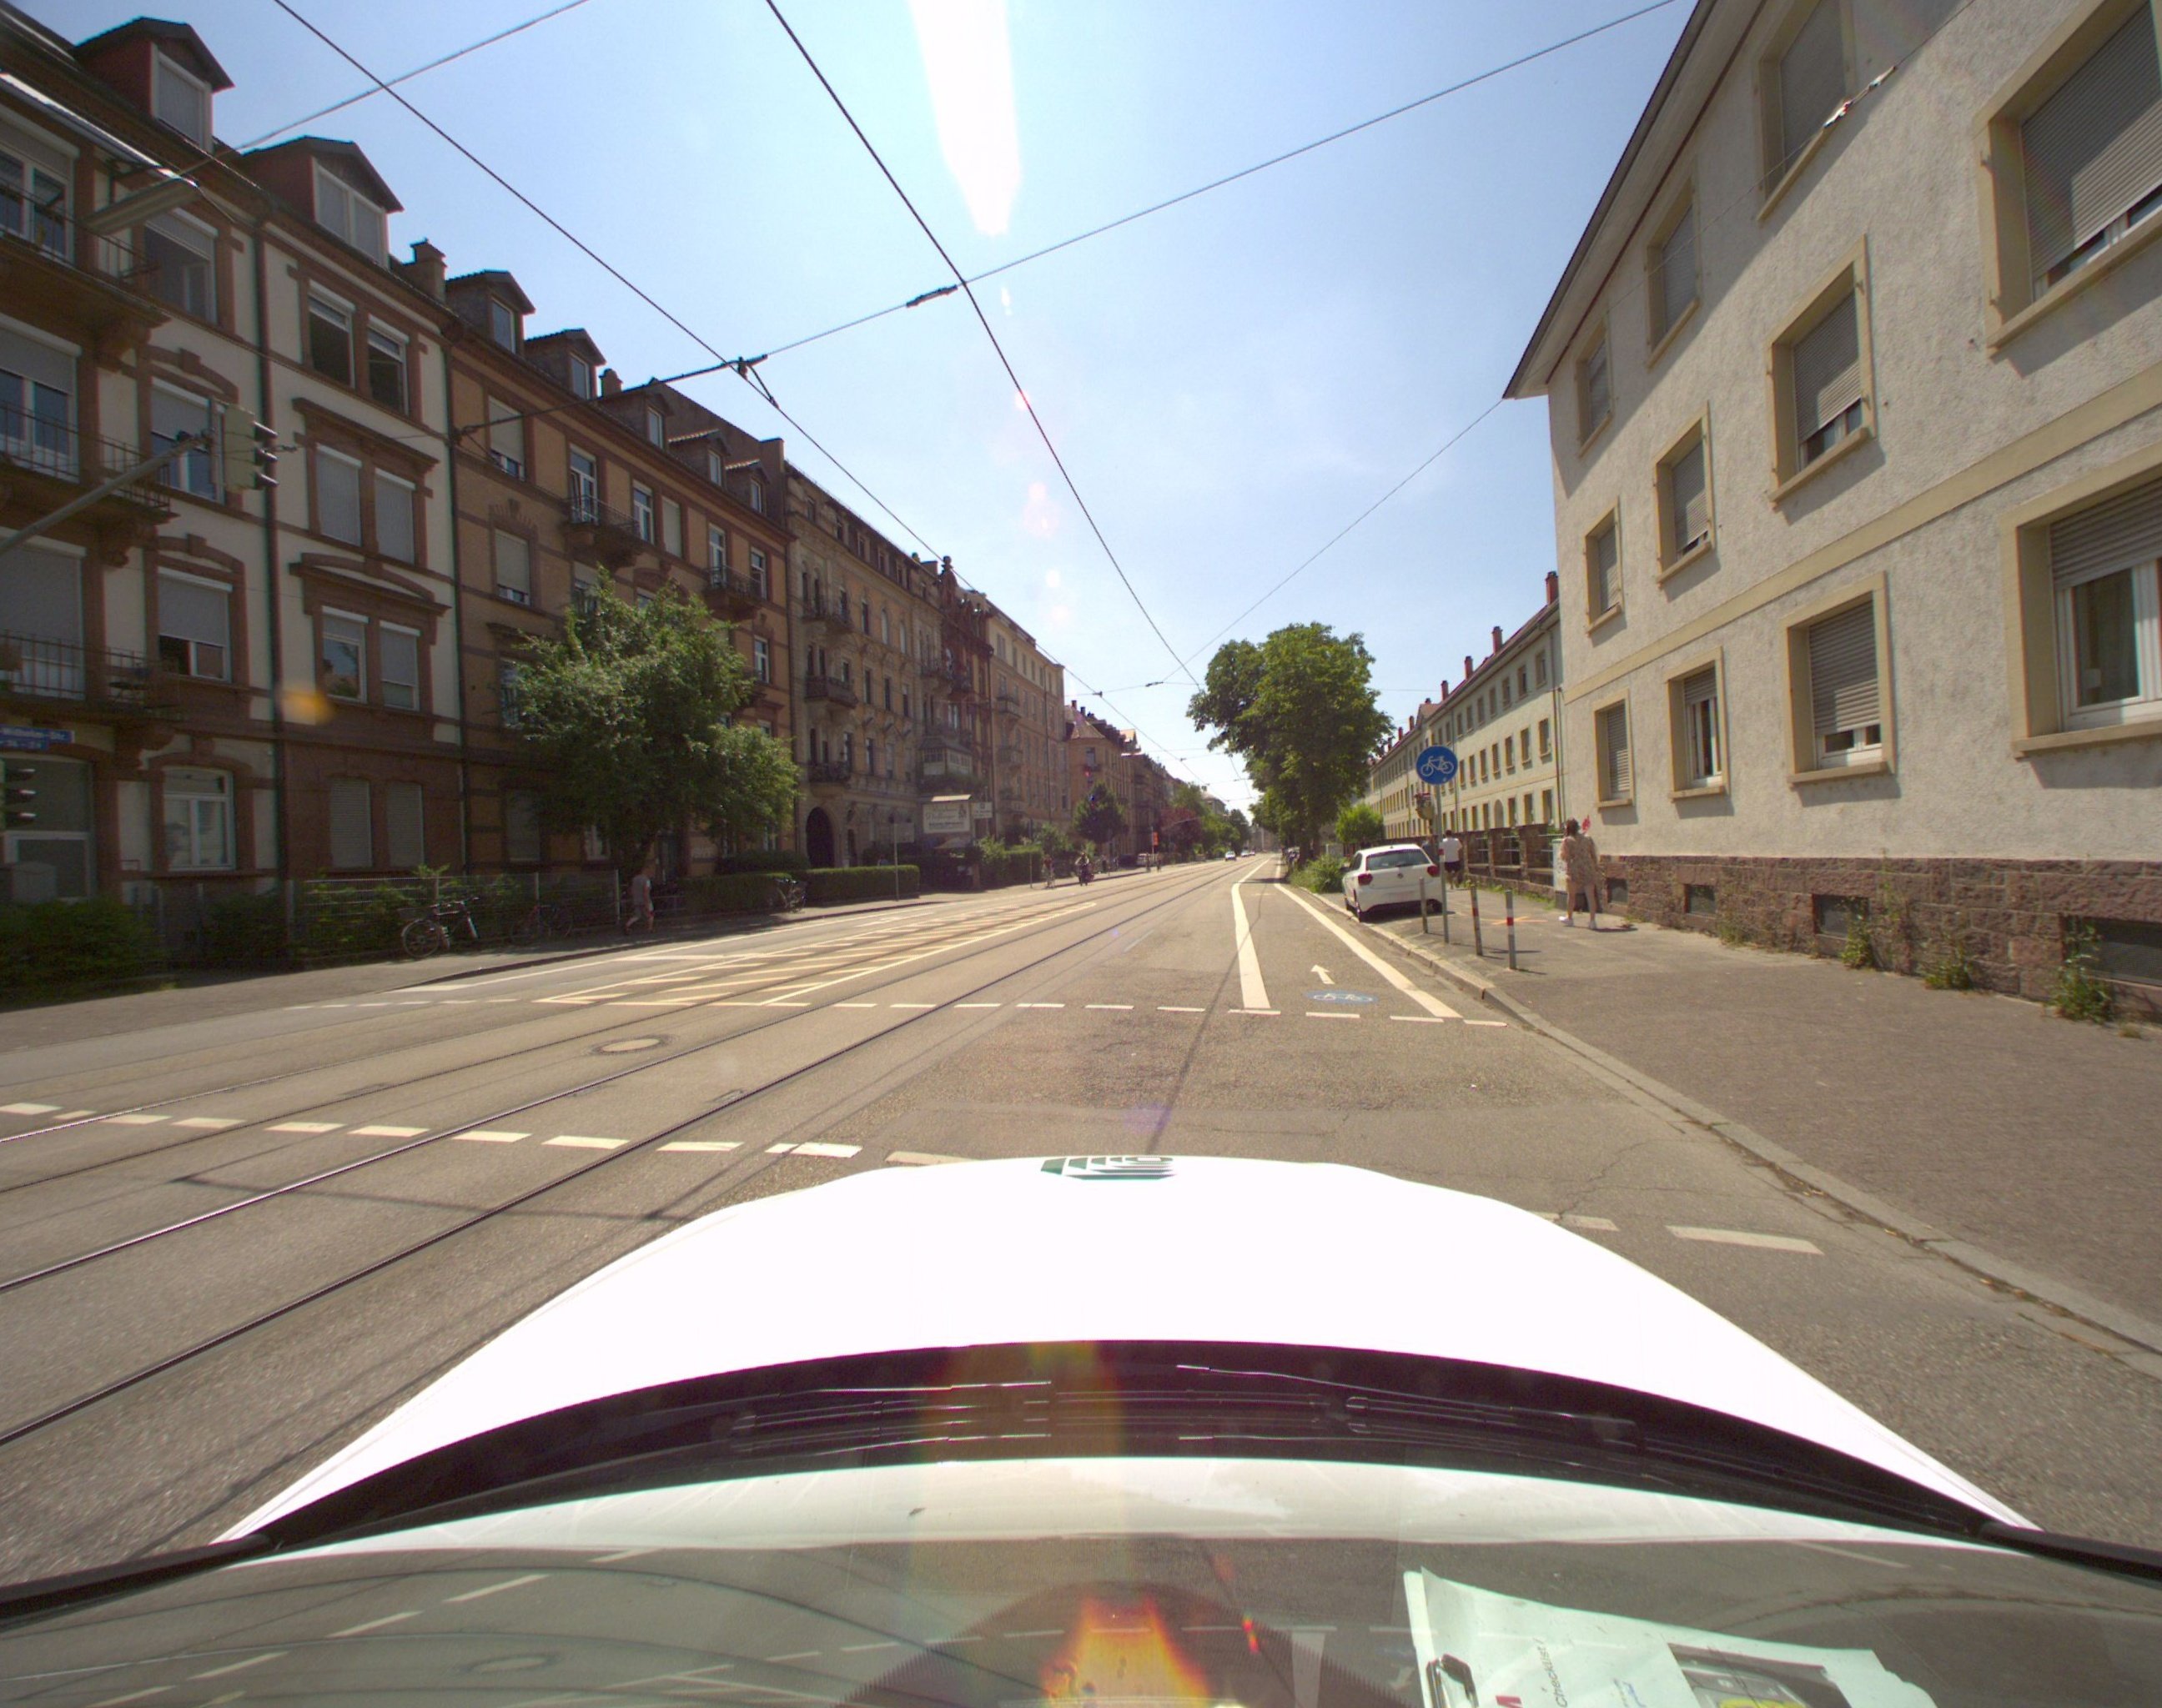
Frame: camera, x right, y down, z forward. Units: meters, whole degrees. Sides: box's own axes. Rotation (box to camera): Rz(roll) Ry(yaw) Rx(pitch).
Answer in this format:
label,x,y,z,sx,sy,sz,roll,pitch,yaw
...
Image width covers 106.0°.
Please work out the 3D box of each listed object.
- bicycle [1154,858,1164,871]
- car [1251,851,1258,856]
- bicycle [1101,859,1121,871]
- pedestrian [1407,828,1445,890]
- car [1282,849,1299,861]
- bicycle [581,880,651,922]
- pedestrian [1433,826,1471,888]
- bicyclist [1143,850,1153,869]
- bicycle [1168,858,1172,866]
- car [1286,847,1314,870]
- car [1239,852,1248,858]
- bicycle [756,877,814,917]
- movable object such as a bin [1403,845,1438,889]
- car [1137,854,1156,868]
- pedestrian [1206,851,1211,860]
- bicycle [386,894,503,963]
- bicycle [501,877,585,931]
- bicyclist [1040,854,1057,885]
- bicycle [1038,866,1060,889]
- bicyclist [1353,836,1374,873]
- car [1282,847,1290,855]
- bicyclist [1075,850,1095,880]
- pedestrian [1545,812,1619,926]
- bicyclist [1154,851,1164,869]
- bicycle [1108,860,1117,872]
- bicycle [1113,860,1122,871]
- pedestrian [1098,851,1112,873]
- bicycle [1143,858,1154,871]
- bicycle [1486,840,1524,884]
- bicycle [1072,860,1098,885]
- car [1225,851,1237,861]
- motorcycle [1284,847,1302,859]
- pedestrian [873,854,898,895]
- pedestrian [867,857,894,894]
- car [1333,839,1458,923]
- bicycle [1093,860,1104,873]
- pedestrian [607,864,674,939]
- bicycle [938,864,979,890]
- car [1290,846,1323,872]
label,x,y,z,sx,sy,sz,roll,pitch,yaw
bicycle,6.875,0.904,71.555,0.577,1.078,1.897,-3,0,13
car,50.723,-0.055,238.286,1.674,1.454,3.762,-2,0,14
bicycle,2.734,0.962,73.855,1.691,1.037,0.554,-2,0,18
pedestrian,9.730,0.148,22.993,0.692,1.669,0.872,-5,-1,13
car,25.460,0.108,99.113,1.757,1.426,4.877,-3,0,11
bicycle,-11.815,1.187,20.713,1.634,0.996,0.497,-2,0,15
pedestrian,10.576,0.080,23.244,0.692,1.669,0.759,-5,-1,13
bicyclist,5.887,0.458,71.562,0.629,1.584,1.032,-3,-1,13
bicycle,11.646,0.995,106.551,0.451,1.003,1.812,-2,0,10
car,15.918,0.285,59.345,1.721,1.552,4.468,-3,0,12
car,37.810,0.180,189.602,1.743,1.424,4.015,-3,-1,14
bicycle,-9.056,1.297,24.990,0.633,1.093,1.940,0,0,17
movable object such as a bin,9.959,0.374,23.931,0.692,1.186,1.040,-5,-1,13
car,7.906,0.840,98.093,1.855,1.600,4.112,-1,0,9
pedestrian,23.847,0.284,152.146,0.746,1.629,0.835,-2,-1,10
bicycle,-12.194,1.404,15.669,0.568,1.169,1.723,-2,0,17
bicycle,-11.709,1.074,17.777,0.456,1.056,1.571,-2,0,17
bicyclist,-1.623,0.793,41.100,0.558,1.515,0.895,-2,0,14
bicycle,-1.600,1.174,41.130,0.563,1.038,1.836,-2,0,14
bicyclist,11.525,0.013,33.240,0.705,1.452,1.014,-2,0,16
car,52.066,-0.835,206.733,1.979,2.035,4.715,-3,0,14
bicyclist,0.211,0.589,44.429,0.801,1.629,0.984,-2,0,14
pedestrian,7.627,0.228,12.435,0.692,1.669,0.759,-2,0,12
bicyclist,6.859,0.556,71.575,0.588,1.544,0.955,-3,-1,13
bicycle,2.750,0.990,70.342,0.436,0.983,1.716,-2,0,12
bicycle,3.251,1.002,72.329,0.436,0.983,1.716,-2,0,12
pedestrian,1.961,0.634,65.763,0.845,1.723,1.143,0,0,14
bicycle,5.913,0.952,71.535,0.624,1.078,1.882,-3,0,13
bicycle,11.783,0.203,22.686,0.592,1.175,1.761,-3,0,17
bicycle,0.240,0.988,44.450,0.801,1.271,2.560,-2,0,14
car,24.263,0.361,131.460,1.673,1.449,4.015,-3,0,13
motorcycle,29.536,-0.152,113.541,0.873,1.540,2.296,-2,0,-33
pedestrian,-9.050,0.937,37.616,0.820,1.857,0.869,-2,-1,-34
pedestrian,-9.582,1.025,38.861,0.899,1.700,0.829,-3,-1,41
car,6.606,0.503,17.529,1.765,1.410,4.171,-7,-1,13
bicycle,1.427,1.020,65.349,0.493,0.987,1.716,2,1,12
pedestrian,-10.394,1.112,19.255,0.864,1.700,1.018,-2,0,20
bicycle,-5.941,1.129,39.580,1.858,1.227,0.570,0,0,11
car,14.048,0.302,50.917,1.646,1.515,4.012,-2,0,11
